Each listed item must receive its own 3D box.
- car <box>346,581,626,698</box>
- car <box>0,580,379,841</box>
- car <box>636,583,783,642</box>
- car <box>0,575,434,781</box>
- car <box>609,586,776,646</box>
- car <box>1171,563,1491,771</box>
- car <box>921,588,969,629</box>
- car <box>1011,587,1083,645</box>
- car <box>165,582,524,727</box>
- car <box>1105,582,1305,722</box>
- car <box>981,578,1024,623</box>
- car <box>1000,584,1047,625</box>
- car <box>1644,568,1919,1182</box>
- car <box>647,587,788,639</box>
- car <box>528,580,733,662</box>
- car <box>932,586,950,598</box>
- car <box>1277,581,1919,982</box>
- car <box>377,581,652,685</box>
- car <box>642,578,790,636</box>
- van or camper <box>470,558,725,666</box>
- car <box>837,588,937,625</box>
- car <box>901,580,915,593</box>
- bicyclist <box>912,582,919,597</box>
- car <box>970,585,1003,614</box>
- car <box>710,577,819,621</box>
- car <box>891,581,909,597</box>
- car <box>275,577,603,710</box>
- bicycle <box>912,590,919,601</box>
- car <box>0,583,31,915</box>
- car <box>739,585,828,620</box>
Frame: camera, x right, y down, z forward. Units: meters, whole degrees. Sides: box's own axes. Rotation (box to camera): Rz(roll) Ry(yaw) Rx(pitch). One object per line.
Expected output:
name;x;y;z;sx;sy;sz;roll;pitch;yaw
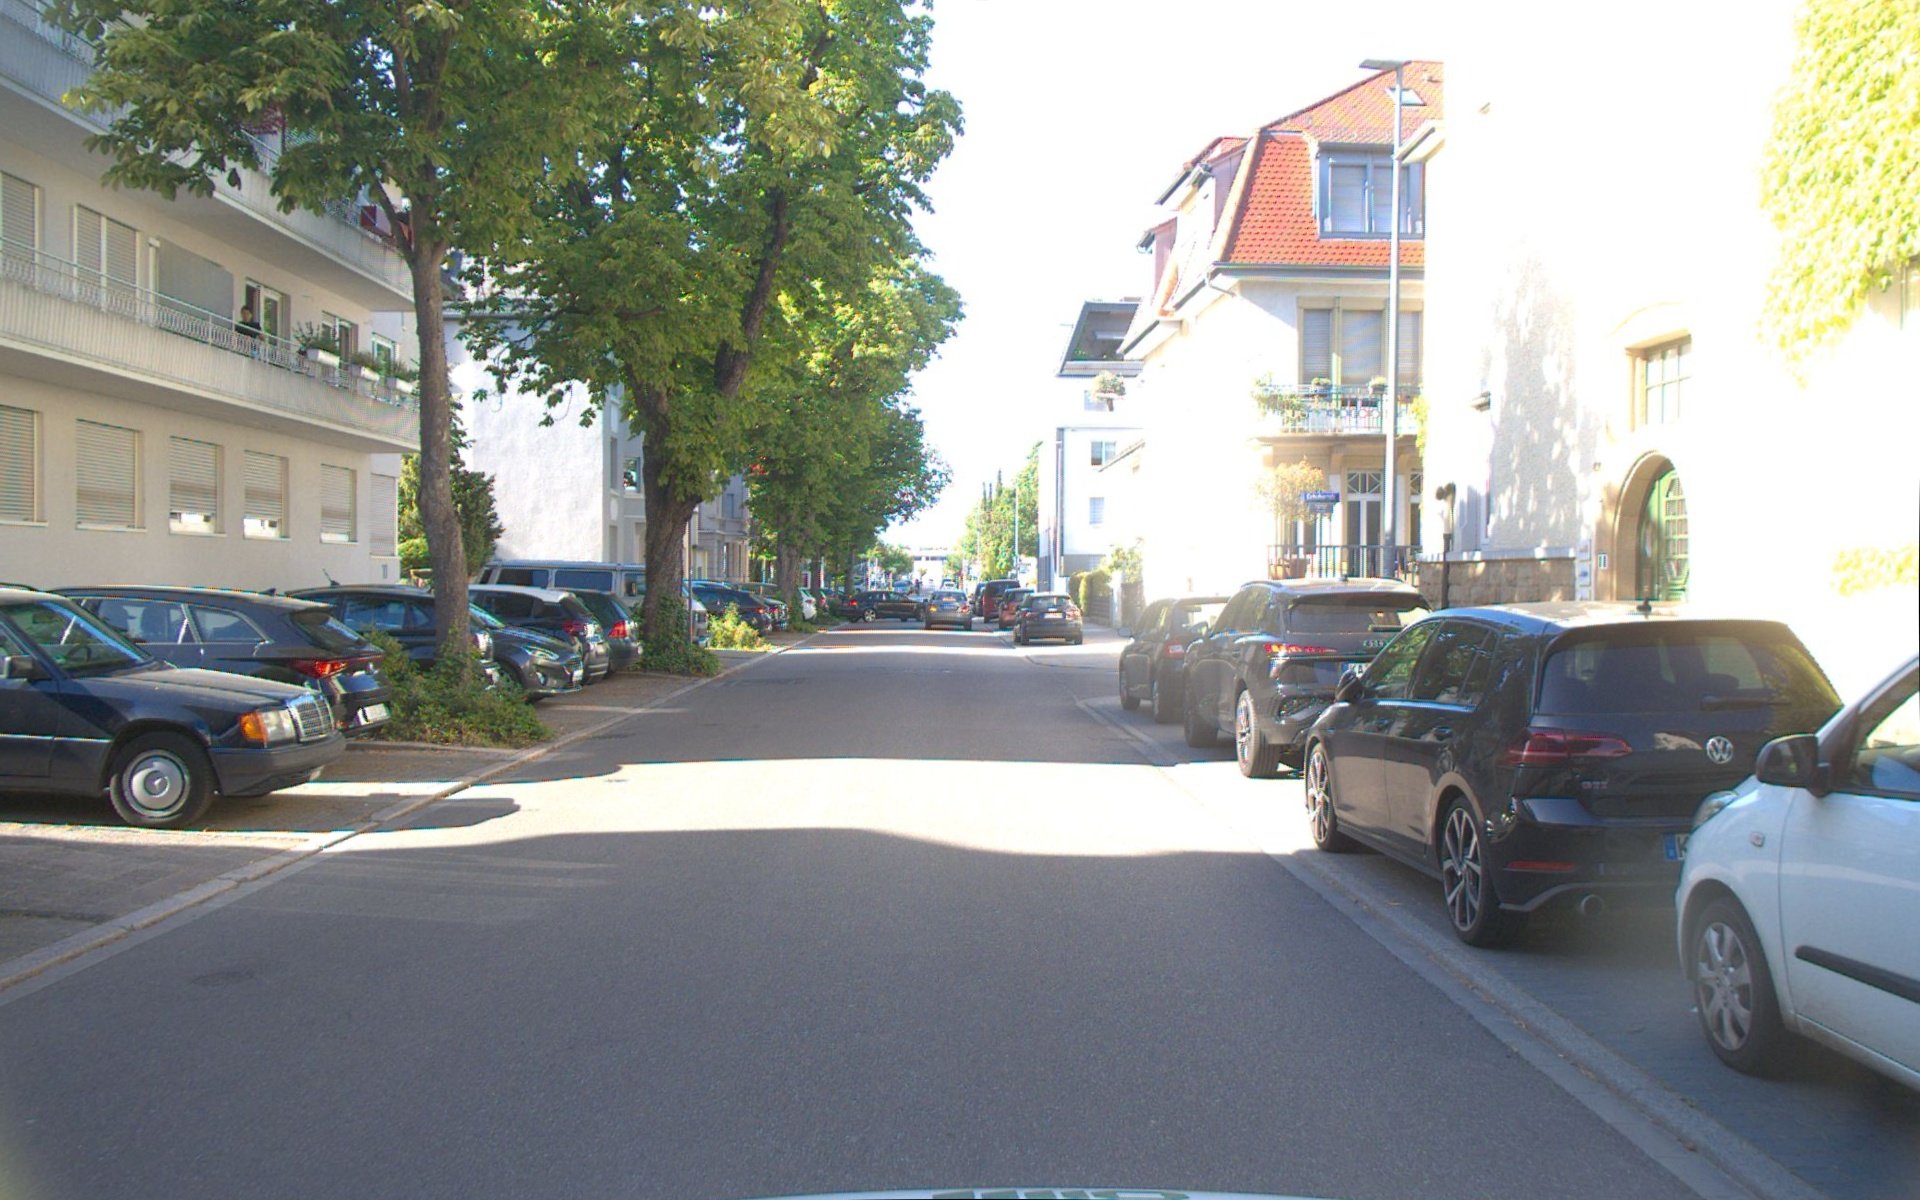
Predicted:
car;-6.661;0.538;23.522;3.407;1.483;1.797;2;0;0
car;-6.511;0.684;11.220;4.498;1.635;1.832;0;0;-4
car;-6.967;0.340;46.313;3.907;1.620;1.877;0;0;-3
car;-6.663;0.585;13.577;4.103;1.466;1.712;2;0;-2
car;-6.976;0.408;43.443;4.102;1.525;1.860;0;0;-2
car;3.096;0.533;14.725;1.755;1.547;4.365;-1;-1;-1
car;-0.543;0.350;62.200;1.691;1.445;3.960;2;-1;0
car;2.396;0.414;46.408;1.587;1.465;3.933;-2;1;-3
car;-6.817;0.596;18.623;3.411;1.445;1.708;2;-1;-6
car;2.947;0.607;20.695;1.629;1.547;3.998;-1;-1;-4
car;1.896;0.038;75.690;1.833;1.938;5.197;-1;0;0
car;2.409;0.155;62.912;1.560;1.506;3.246;-2;0;-1
car;3.229;0.693;4.095;1.543;1.576;3.467;-1;-1;-1
car;-7.088;0.364;48.521;3.906;1.494;1.696;0;0;-2
car;-6.802;0.415;34.378;3.864;1.524;1.662;2;1;1
car;-2.184;-0.871;187.406;1.689;1.353;3.996;0;0;-5
car;2.905;0.703;8.349;1.675;1.461;4.191;-2;-1;-1
car;-6.925;0.499;25.989;3.844;1.439;1.714;2;1;-3
car;-7.560;0.197;51.560;4.296;1.681;1.823;-1;2;0
van or camper;-6.803;0.222;31.422;4.406;1.948;1.964;1;0;-1
car;-3.270;0.289;74.271;4.142;1.473;1.696;3;-1;-29
car;-6.538;-1.725;208.212;1.751;1.558;3.999;3;1;-2
bicyclist;-4.658;-1.094;172.914;0.706;1.564;1.137;0;0;-1
car;1.449;-0.048;92.357;1.701;1.558;4.178;0;0;-1
car;-7.503;-0.058;63.712;3.941;1.510;1.806;2;0;-2
car;-6.737;-1.271;184.848;1.836;1.758;3.996;0;1;-5
car;-6.537;0.530;21.016;3.569;1.488;1.710;2;0;1
bicycle;-4.652;-0.471;172.842;0.705;1.098;1.890;0;0;0
car;-6.248;0.720;6.806;3.800;1.540;1.829;-1;0;-10
car;-8.065;0.108;75.910;3.907;1.446;1.771;2;1;-2
